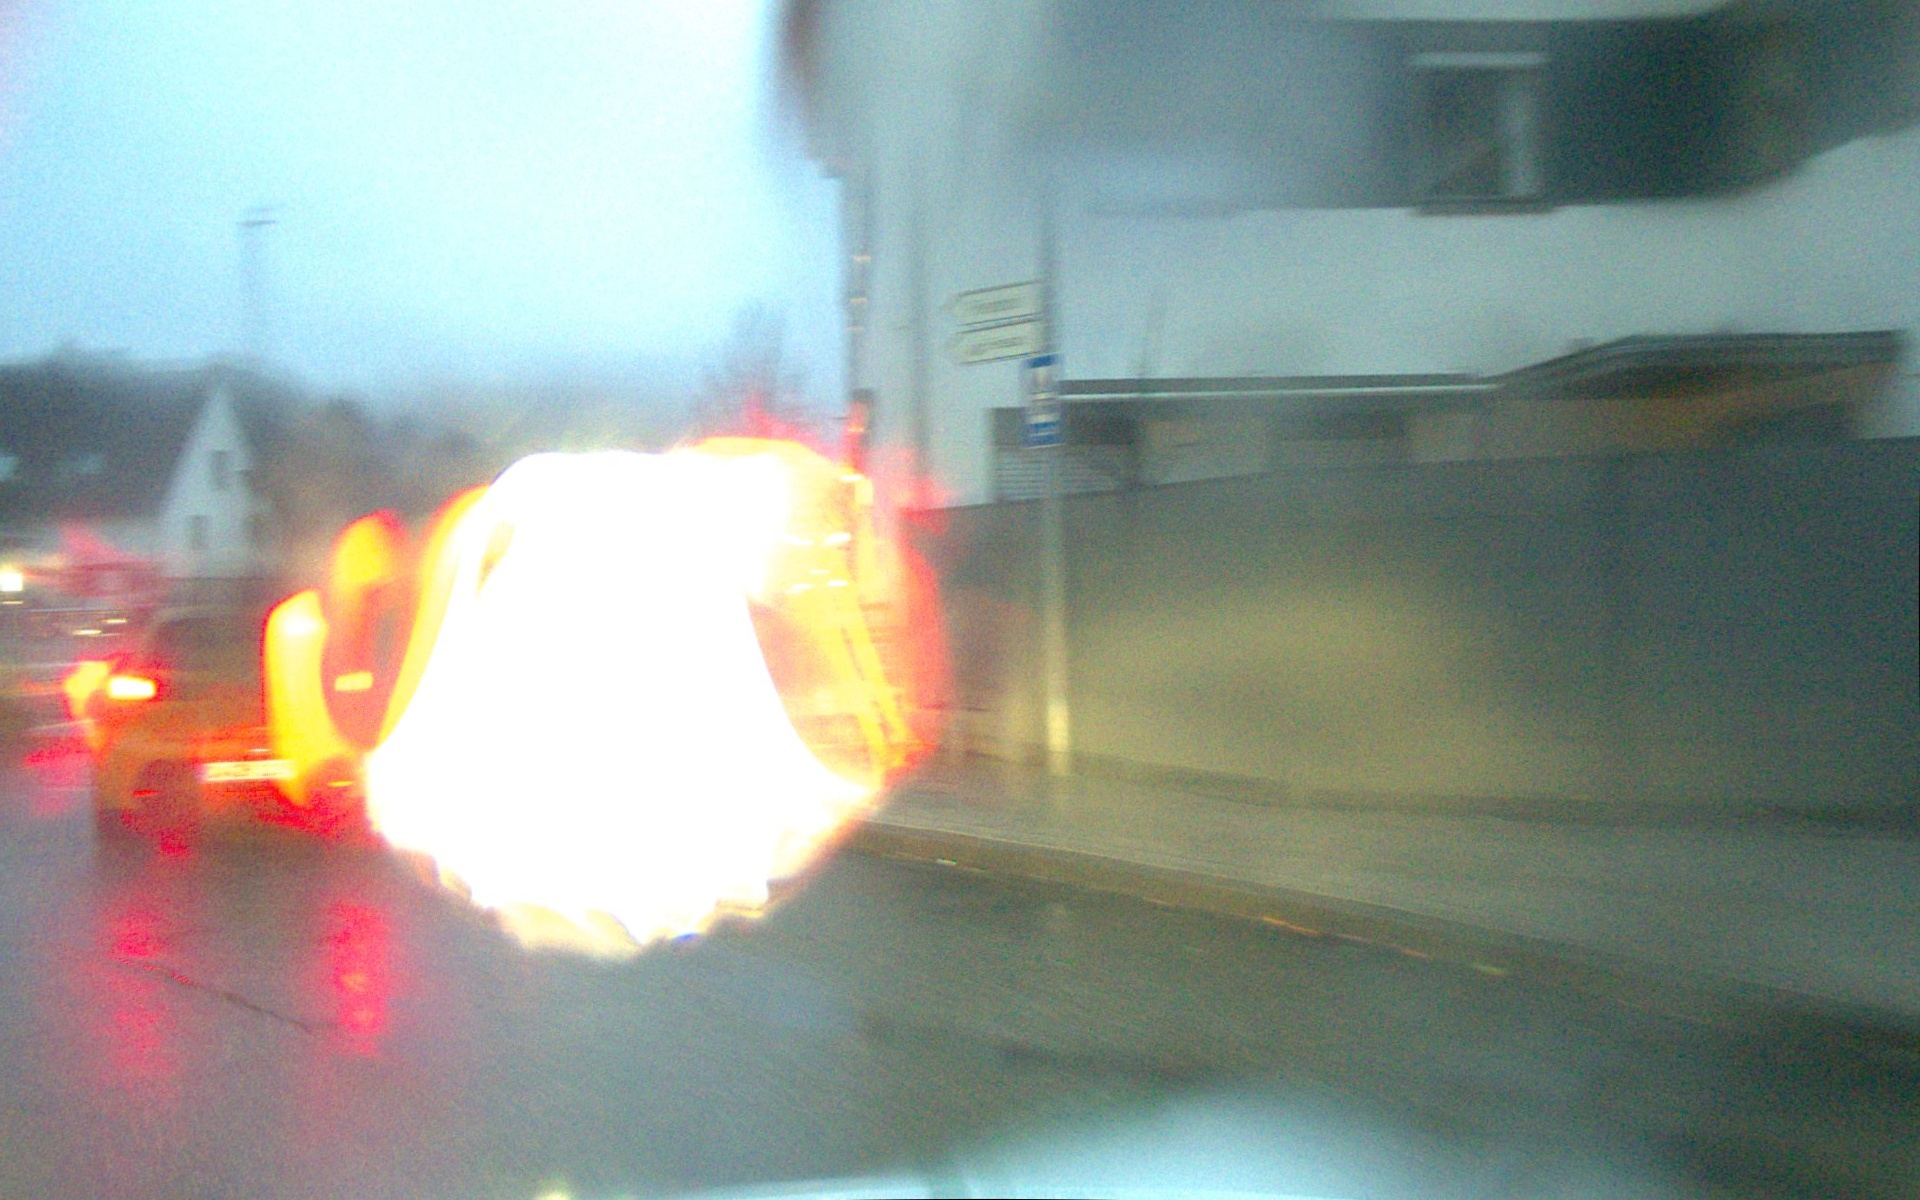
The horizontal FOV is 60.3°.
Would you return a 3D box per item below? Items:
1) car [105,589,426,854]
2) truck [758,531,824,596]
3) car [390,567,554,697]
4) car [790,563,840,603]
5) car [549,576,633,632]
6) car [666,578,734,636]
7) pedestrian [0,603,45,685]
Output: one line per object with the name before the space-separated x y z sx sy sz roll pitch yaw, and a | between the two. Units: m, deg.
car | -4.671 0.712 11.377 1.685 1.447 3.987 -1 -1 -21
truck | -8.319 -1.845 82.021 2.659 3.062 5.992 -1 2 -1
car | -6.967 0.385 23.986 1.882 1.643 3.940 -2 2 -11
car | -5.769 -0.690 66.061 1.656 1.492 3.719 -1 2 -1
car | -11.120 0.088 50.114 1.705 1.596 4.061 -1 1 -2
car | -8.130 0.197 51.982 1.687 1.660 3.998 -1 2 -3
pedestrian | -16.381 0.758 28.551 0.767 1.371 0.716 -1 1 -1
